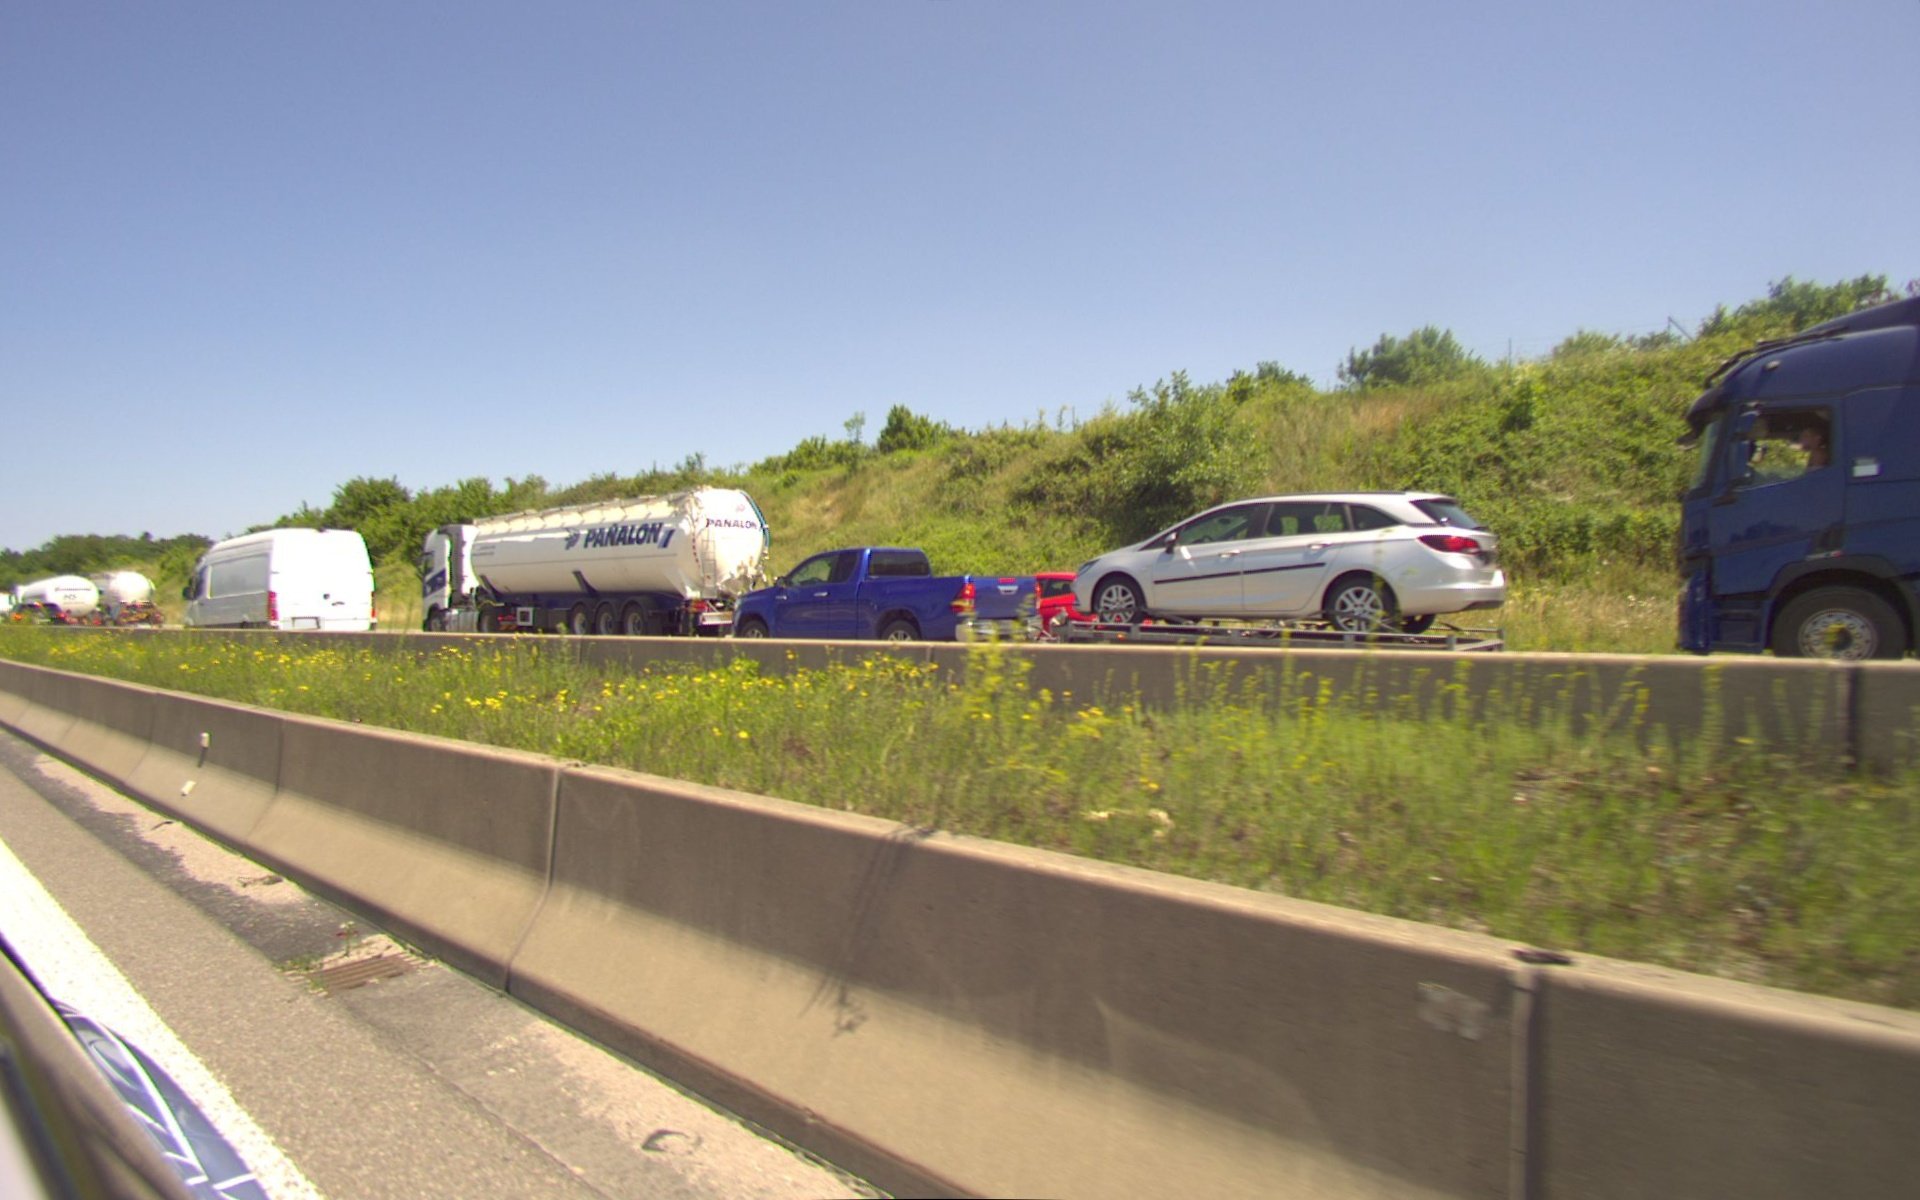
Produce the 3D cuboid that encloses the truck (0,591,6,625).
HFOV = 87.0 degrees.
[{"bbox_3d":[-112.095,0.973,116.343,6.029,3.851,2.755,-1,3,41],"label":"truck"}]

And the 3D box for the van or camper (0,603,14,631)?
[{"bbox_3d":[-76.771,1.366,80.242,4.714,2.169,1.973,-1,1,40],"label":"van or camper"}]

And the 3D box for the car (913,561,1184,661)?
[{"bbox_3d":[1.450,0.188,17.840,4.582,1.550,1.778,-1,0,41],"label":"car"}]

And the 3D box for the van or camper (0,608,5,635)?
[{"bbox_3d":[-81.061,1.798,83.976,5.951,2.169,1.973,-1,1,40],"label":"van or camper"}]

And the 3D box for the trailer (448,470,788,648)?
[{"bbox_3d":[-10.034,-0.839,28.034,13.238,3.980,2.651,-1,-1,41],"label":"trailer"}]

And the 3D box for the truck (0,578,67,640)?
[{"bbox_3d":[-61.946,0.591,67.428,7.398,3.919,2.591,-1,1,41],"label":"truck"}]

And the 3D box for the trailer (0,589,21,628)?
[{"bbox_3d":[-106.457,0.949,111.590,12.266,3.978,2.653,0,4,40],"label":"trailer"}]

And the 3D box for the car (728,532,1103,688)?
[{"bbox_3d":[-0.857,0.142,14.563,5.742,1.847,1.778,-1,0,41],"label":"car"}]

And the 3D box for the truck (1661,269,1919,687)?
[{"bbox_3d":[10.640,-1.192,10.297,5.442,3.906,3.419,0,2,41],"label":"truck"}]

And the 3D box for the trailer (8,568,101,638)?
[{"bbox_3d":[-56.086,0.260,62.521,11.636,3.980,2.652,-1,-1,40],"label":"trailer"}]

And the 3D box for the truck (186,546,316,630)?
[{"bbox_3d":[-36.116,-0.537,51.446,8.141,3.939,3.473,-1,1,41],"label":"truck"}]

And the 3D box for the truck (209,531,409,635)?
[{"bbox_3d":[-30.062,-0.539,46.211,14.997,4.124,3.542,-2,0,41],"label":"truck"}]

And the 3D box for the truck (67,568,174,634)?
[{"bbox_3d":[-57.750,0.164,69.450,12.571,4.124,3.542,-2,1,41],"label":"truck"}]

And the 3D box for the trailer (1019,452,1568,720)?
[{"bbox_3d":[3.350,-0.149,10.879,5.161,2.226,2.068,-1,3,41],"label":"trailer"}]

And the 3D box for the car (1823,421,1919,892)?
[{"bbox_3d":[6.463,0.163,3.584,5.161,2.028,1.973,-1,3,41],"label":"car"}]

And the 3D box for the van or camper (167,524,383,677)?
[{"bbox_3d":[-15.452,-0.005,22.559,7.638,2.898,1.973,-1,3,41],"label":"van or camper"}]

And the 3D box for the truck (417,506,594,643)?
[{"bbox_3d":[-14.428,-0.696,31.915,6.313,3.908,2.665,-1,0,41],"label":"truck"}]

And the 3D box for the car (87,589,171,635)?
[{"bbox_3d":[-40.842,0.586,49.715,5.052,2.078,2.066,-1,3,38],"label":"car"}]

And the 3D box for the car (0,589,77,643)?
[{"bbox_3d":[-40.208,0.669,43.917,5.056,2.078,2.065,-1,3,41],"label":"car"}]
